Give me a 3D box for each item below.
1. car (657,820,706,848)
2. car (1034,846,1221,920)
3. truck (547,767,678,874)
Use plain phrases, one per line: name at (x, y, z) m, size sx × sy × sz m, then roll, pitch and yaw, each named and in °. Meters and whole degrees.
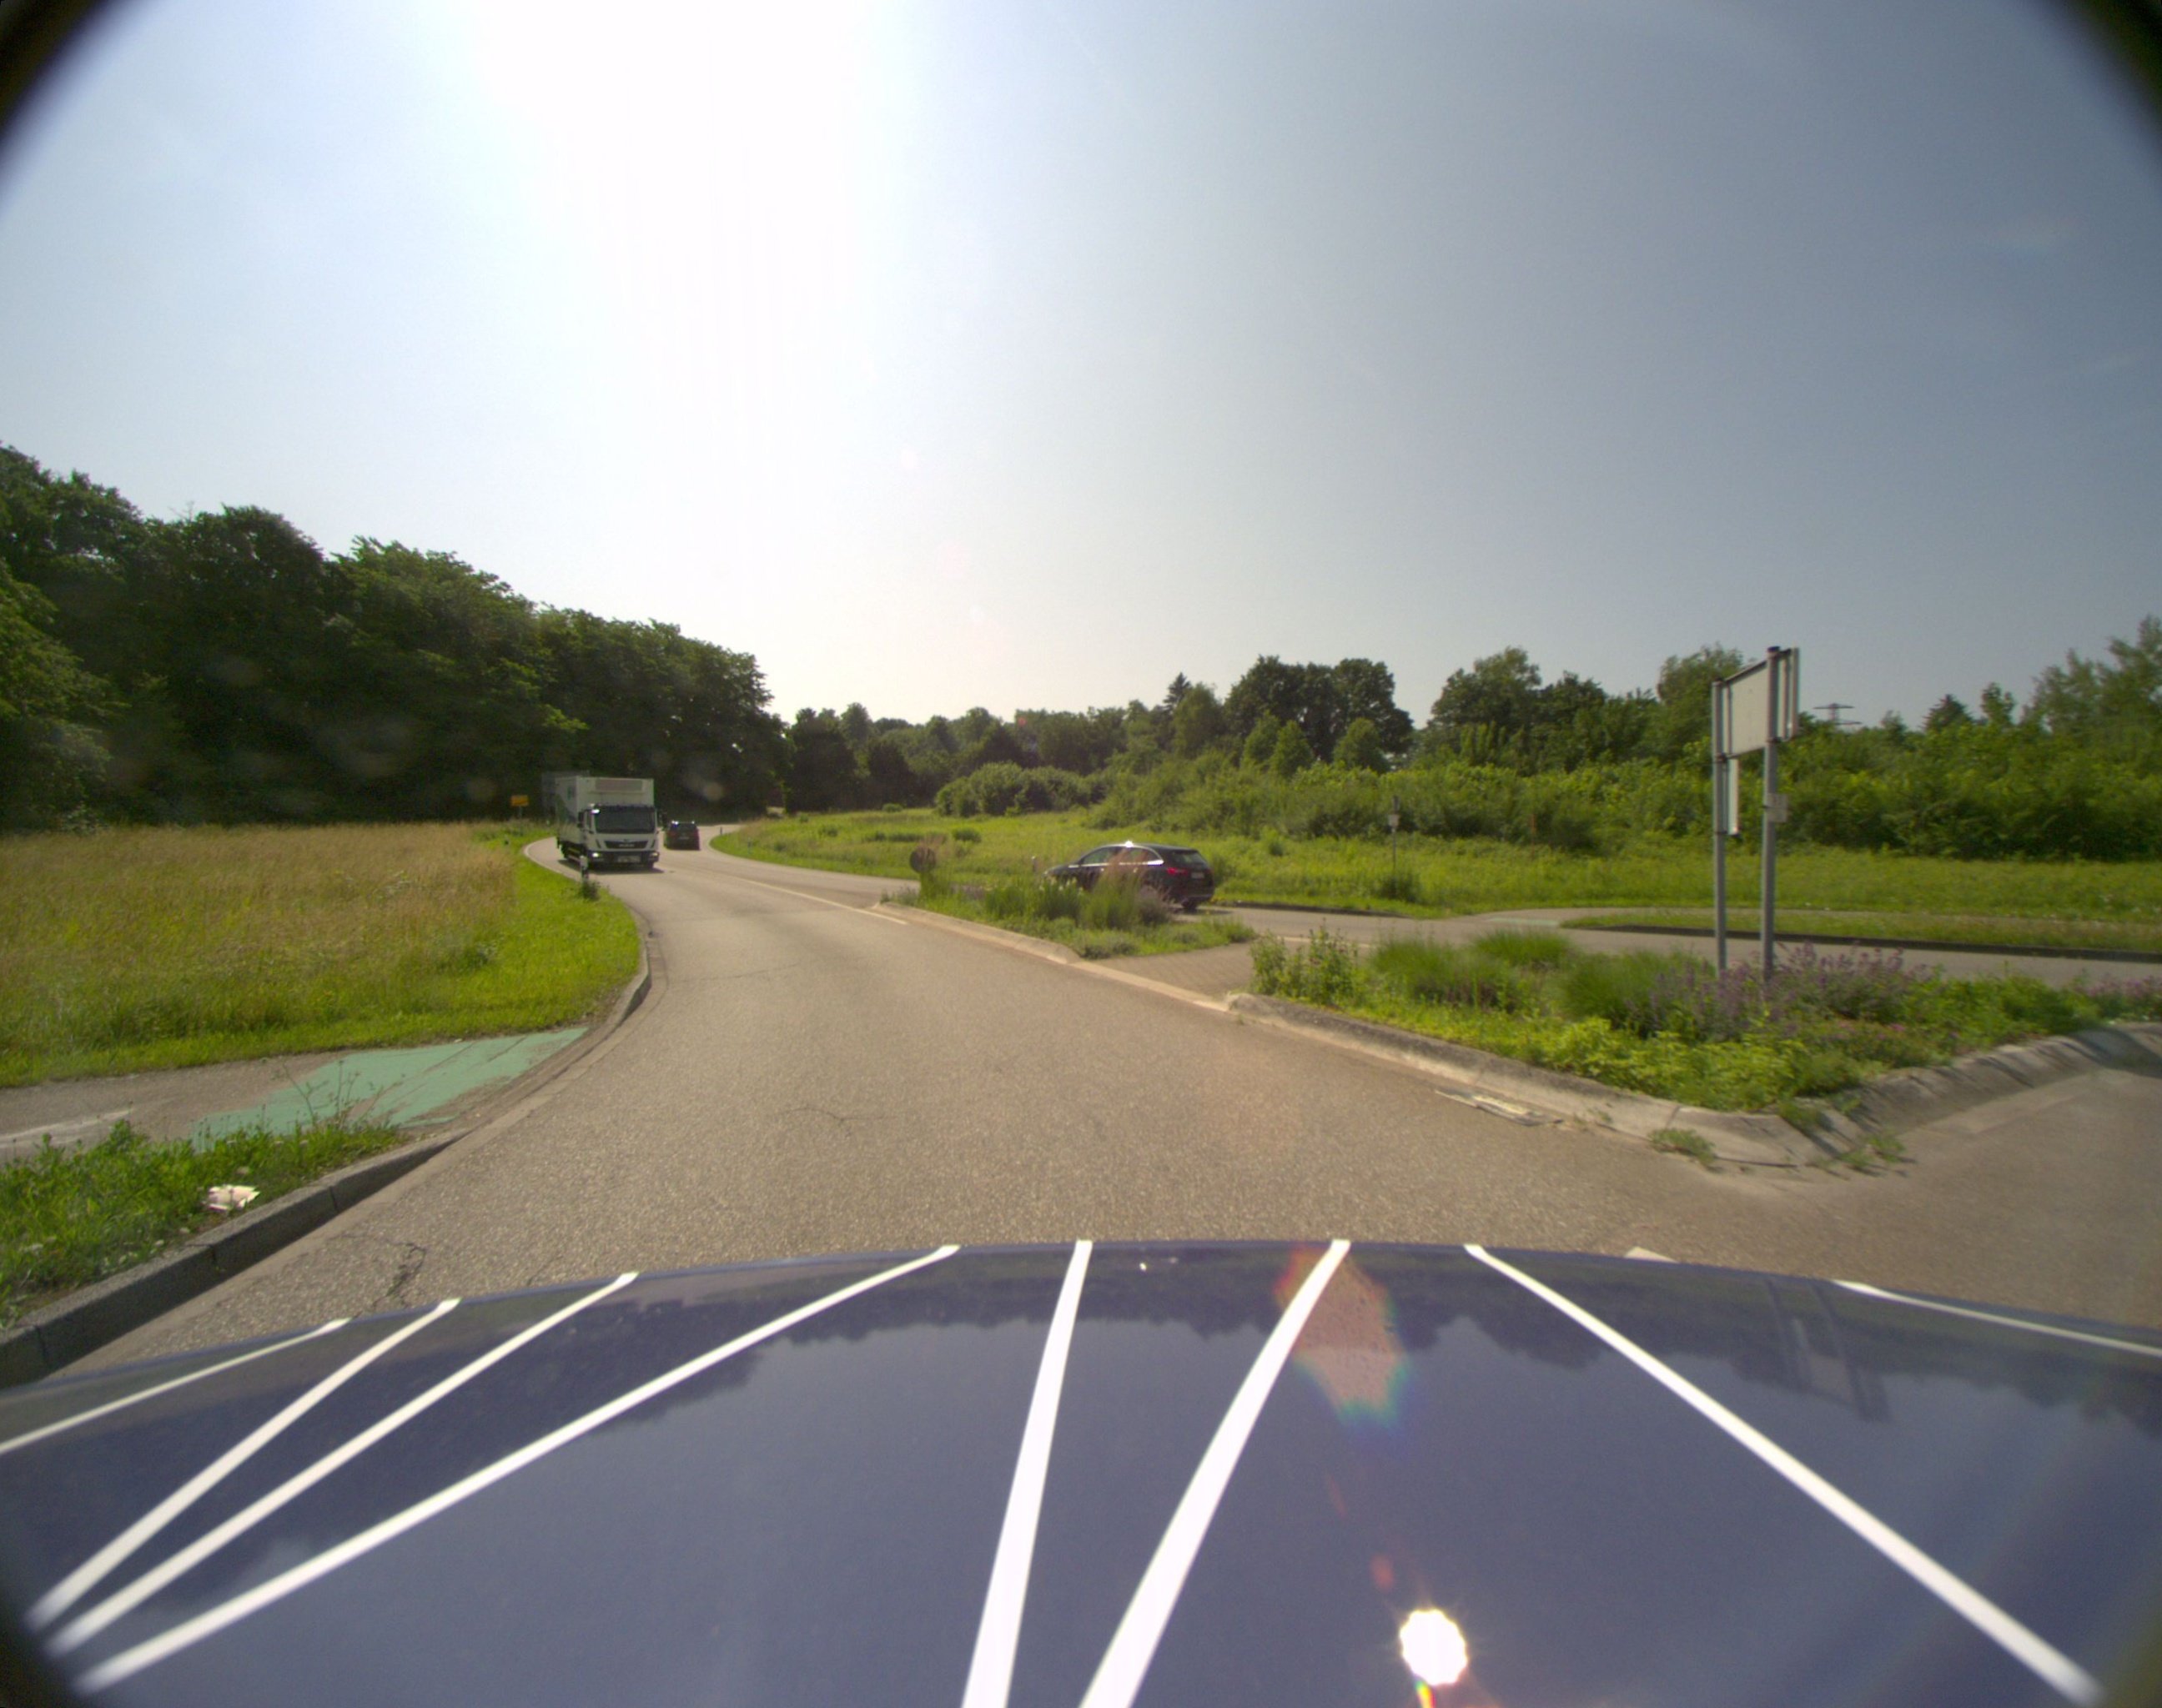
car at (-23.939, -1.155, 45.448) m, size 1.916 × 1.586 × 4.361 m, roll 0°, pitch 1°, yaw -37°
car at (0.998, 0.599, 17.909) m, size 4.200 × 1.521 × 1.762 m, roll 1°, pitch 0°, yaw 42°
truck at (-19.474, -1.374, 31.284) m, size 2.905 × 3.809 × 8.996 m, roll -4°, pitch 4°, yaw -41°
